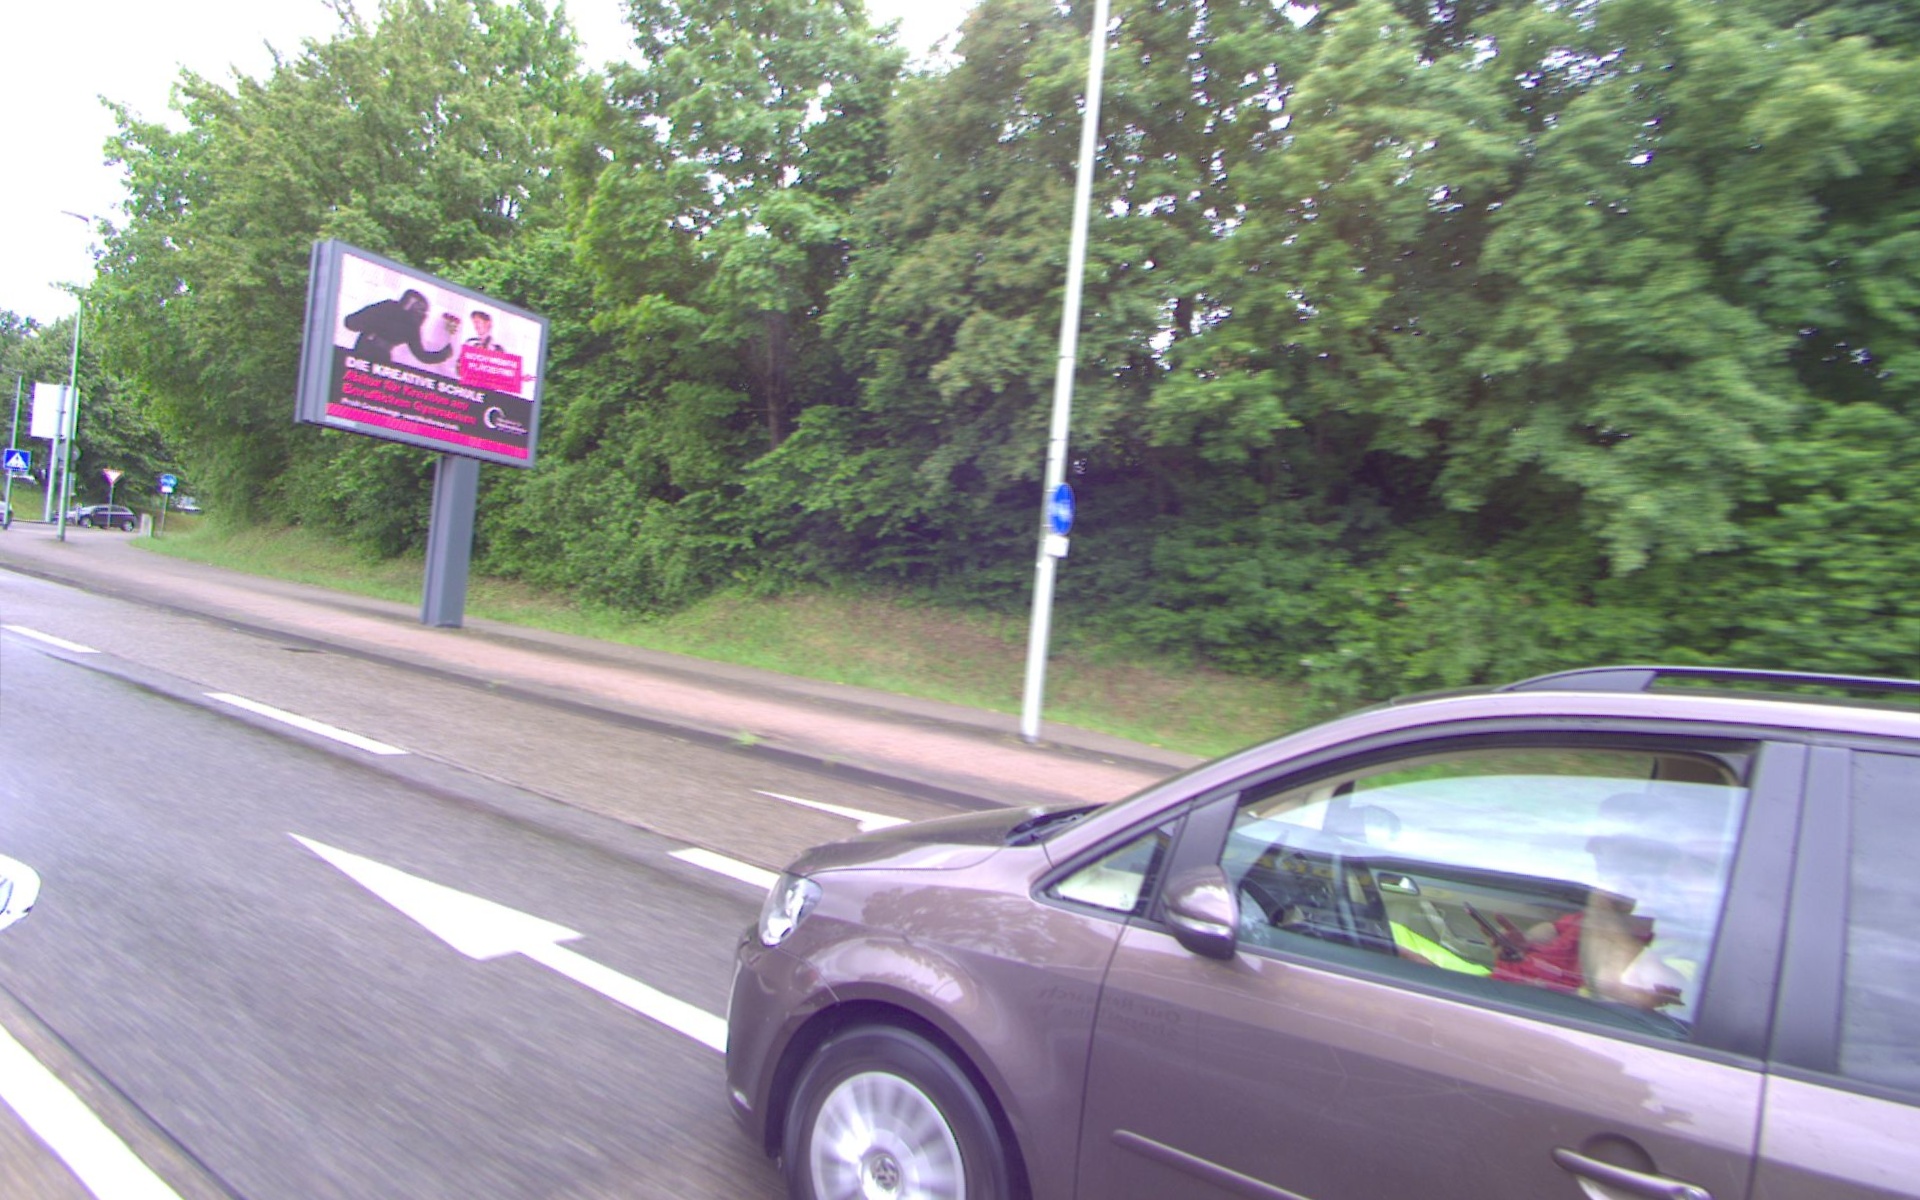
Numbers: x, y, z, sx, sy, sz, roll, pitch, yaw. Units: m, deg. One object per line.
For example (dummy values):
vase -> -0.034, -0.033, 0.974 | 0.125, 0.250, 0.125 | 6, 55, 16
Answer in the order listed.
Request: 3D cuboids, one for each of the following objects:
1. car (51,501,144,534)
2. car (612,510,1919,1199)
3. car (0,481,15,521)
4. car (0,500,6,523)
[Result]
car -> -53.894, -5.131, 62.978 | 1.865, 1.485, 4.331 | 7, 0, 2
car -> 1.392, 0.891, 2.245 | 4.060, 1.616, 1.717 | 8, 0, 30
car -> -43.511, -4.491, 44.188 | 1.799, 1.729, 3.917 | 8, 0, -28
car -> -57.758, -5.342, 57.768 | 1.578, 1.310, 4.000 | 7, 1, 13
